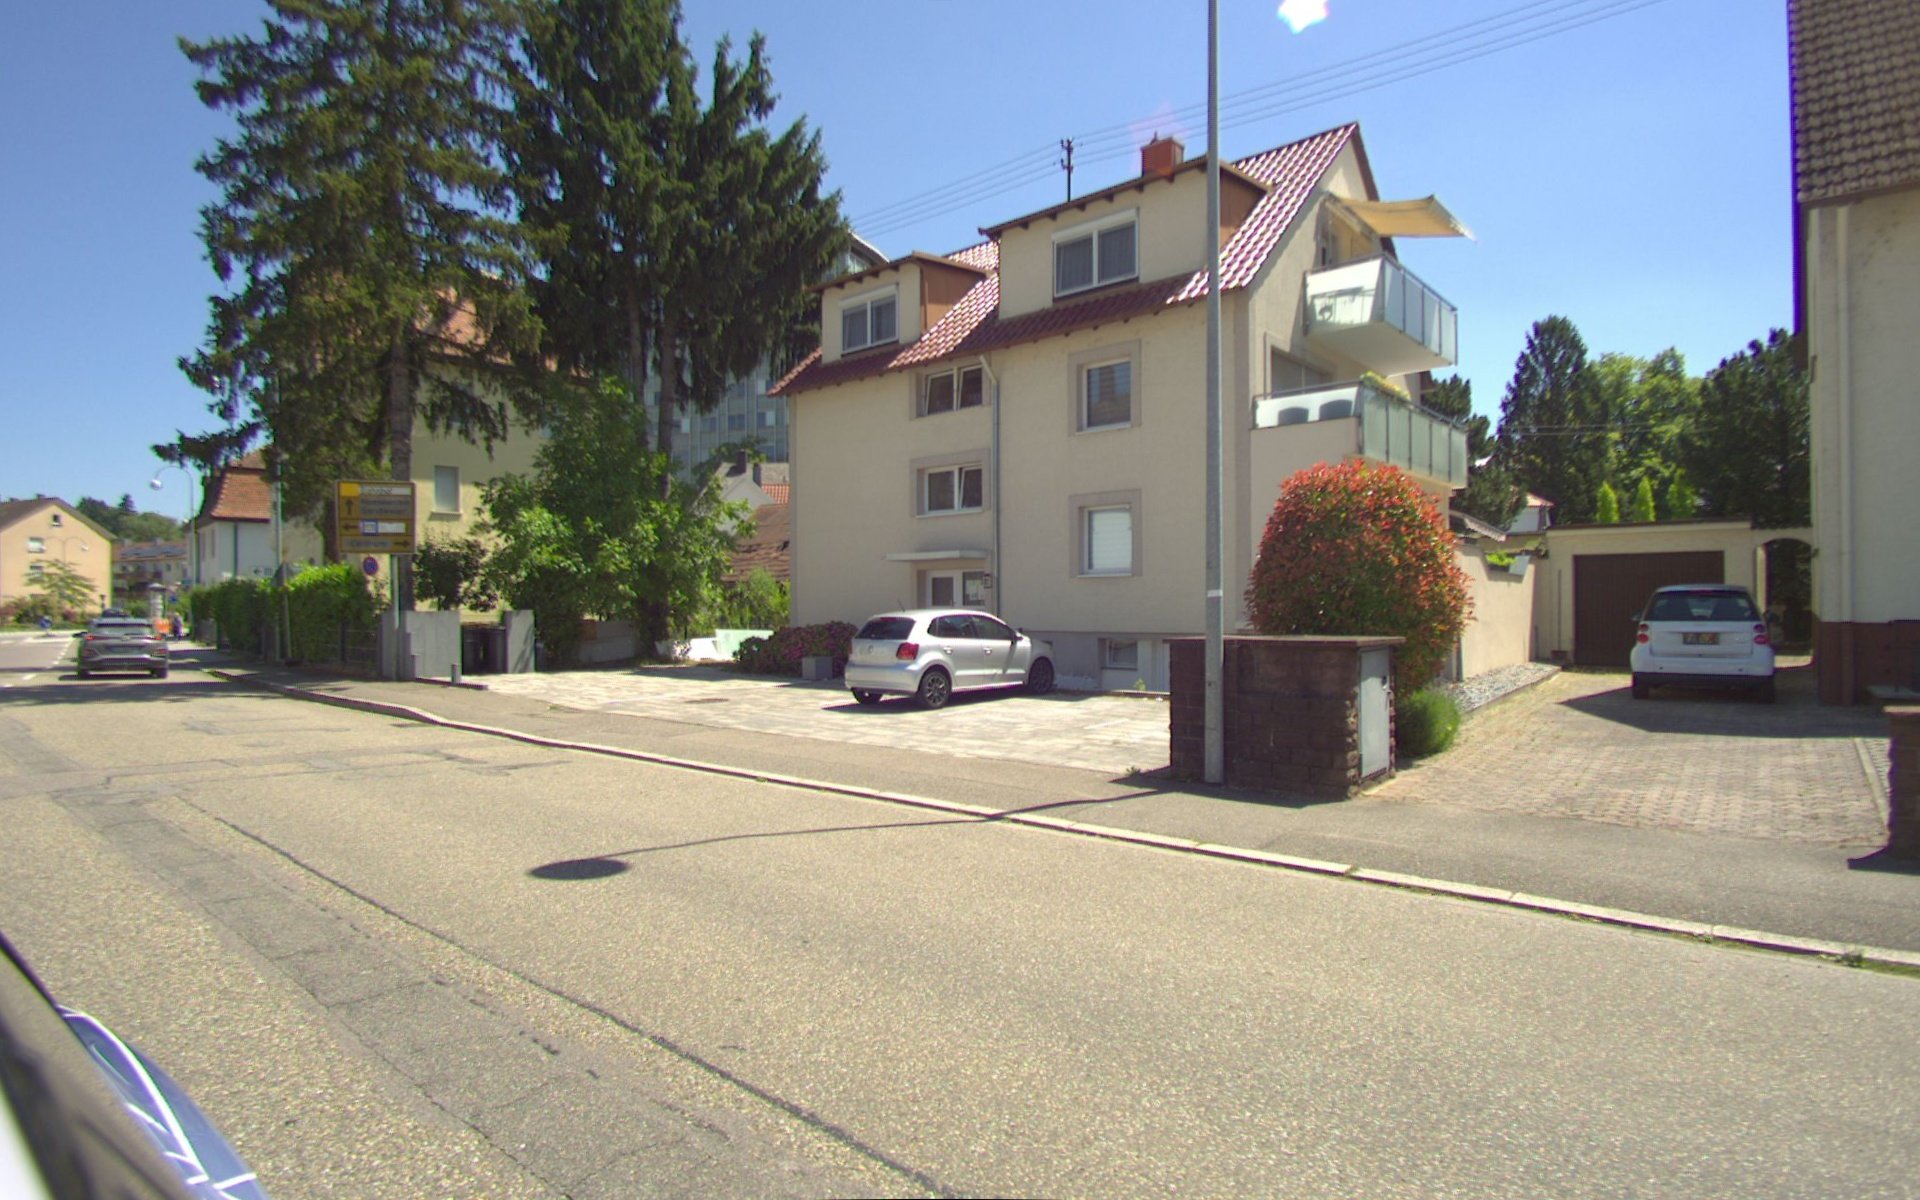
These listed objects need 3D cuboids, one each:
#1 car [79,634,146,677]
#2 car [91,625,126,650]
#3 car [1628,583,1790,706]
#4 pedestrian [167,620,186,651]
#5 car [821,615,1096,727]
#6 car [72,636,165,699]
[{"bbox_3d":[-31.964,2.035,38.121,1.784,1.500,4.392,2,-3,-42],"label":"car"},{"bbox_3d":[-59.139,2.587,70.268,1.830,1.629,4.303,-1,0,-41],"label":"car"},{"bbox_3d":[10.897,0.561,14.664,1.645,1.548,3.747,-3,-1,39],"label":"car"},{"bbox_3d":[-42.525,1.918,54.920,0.606,1.576,0.825,-7,4,-43],"label":"pedestrian"},{"bbox_3d":[0.098,1.021,16.320,4.417,1.452,1.848,-1,0,-45],"label":"car"},{"bbox_3d":[-22.193,1.713,26.640,1.719,1.516,4.148,3,-3,-41],"label":"car"}]
